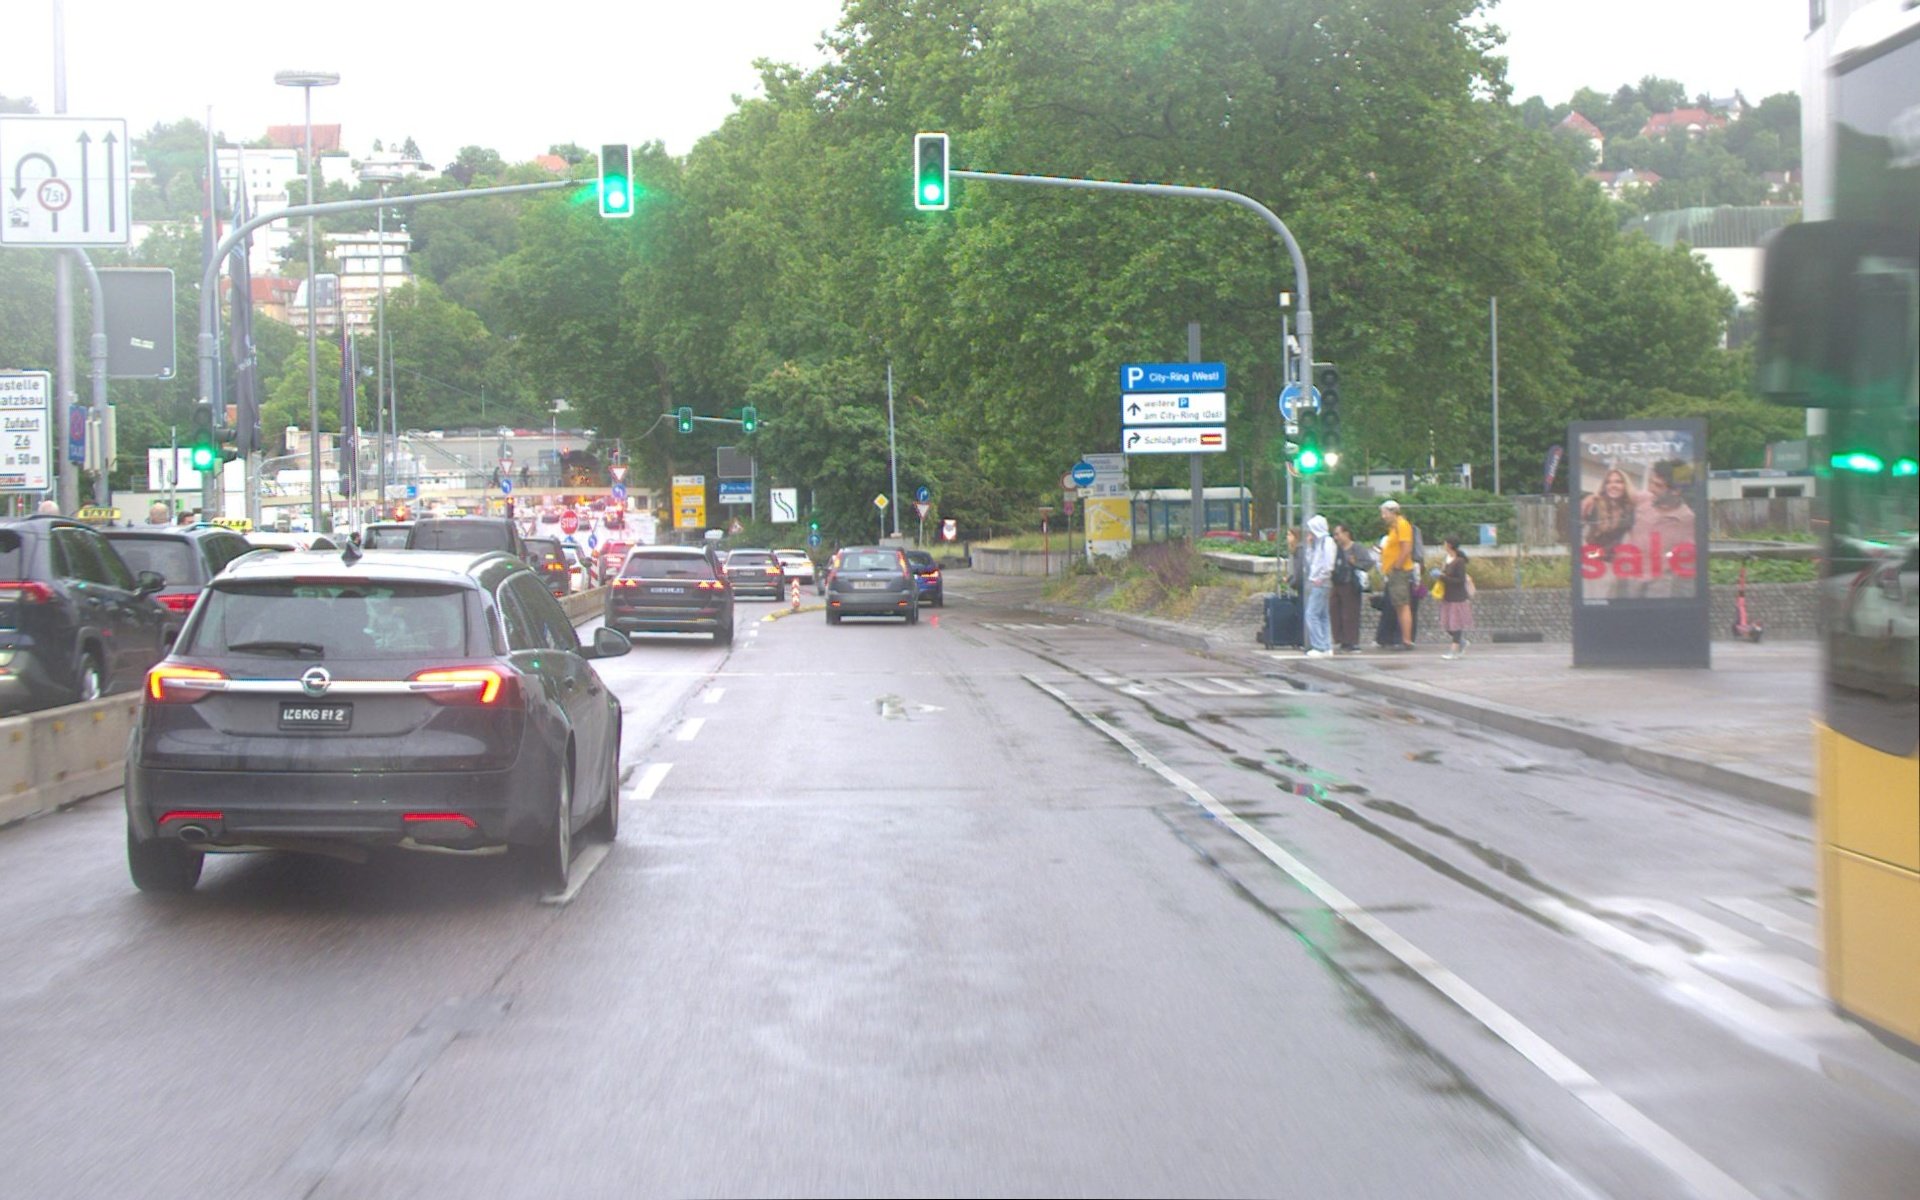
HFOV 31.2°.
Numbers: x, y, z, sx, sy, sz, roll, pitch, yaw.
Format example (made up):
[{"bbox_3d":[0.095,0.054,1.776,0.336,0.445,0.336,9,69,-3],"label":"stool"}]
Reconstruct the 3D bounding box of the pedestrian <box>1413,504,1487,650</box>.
[{"bbox_3d":[6.149,-0.290,43.150,0.539,1.798,0.758,-2,1,-28],"label":"pedestrian"}]

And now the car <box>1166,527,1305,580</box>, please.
[{"bbox_3d":[7.866,-1.322,98.333,3.615,1.500,1.730,1,1,38],"label":"car"}]

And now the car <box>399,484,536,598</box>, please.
[{"bbox_3d":[-8.310,-0.990,58.383,1.993,1.839,5.063,0,1,-5],"label":"car"}]

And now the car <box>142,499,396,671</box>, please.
[{"bbox_3d":[-7.263,-0.195,36.578,1.786,1.680,4.667,-1,1,-1],"label":"car"}]

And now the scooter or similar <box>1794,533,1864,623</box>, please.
[{"bbox_3d":[12.224,-0.314,48.384,0.372,1.254,1.316,0,1,-13],"label":"scooter or similar"}]

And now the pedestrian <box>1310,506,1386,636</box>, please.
[{"bbox_3d":[5.121,-0.386,45.417,0.875,1.685,0.758,-1,1,-1],"label":"pedestrian"}]

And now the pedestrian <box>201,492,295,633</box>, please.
[{"bbox_3d":[-9.678,-0.512,46.758,1.005,1.880,0.682,-1,1,22],"label":"pedestrian"}]

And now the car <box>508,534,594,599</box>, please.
[{"bbox_3d":[-10.606,-0.892,89.404,1.993,1.562,4.877,-2,1,-5],"label":"car"}]

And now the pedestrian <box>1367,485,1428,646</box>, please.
[{"bbox_3d":[5.864,-0.464,46.099,0.554,2.138,0.668,-1,1,-15],"label":"pedestrian"}]

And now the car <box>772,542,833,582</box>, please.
[{"bbox_3d":[-6.276,-1.525,136.650,1.813,1.569,4.001,0,1,-11],"label":"car"}]

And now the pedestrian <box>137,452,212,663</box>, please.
[{"bbox_3d":[-7.587,-0.412,33.241,0.527,2.007,0.891,-1,1,-3],"label":"pedestrian"}]

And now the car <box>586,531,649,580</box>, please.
[{"bbox_3d":[-12.947,-1.674,129.754,1.993,1.820,4.001,0,1,-11],"label":"car"}]

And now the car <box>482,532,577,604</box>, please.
[{"bbox_3d":[-9.260,-0.704,74.211,1.823,1.506,4.491,0,1,-5],"label":"car"}]

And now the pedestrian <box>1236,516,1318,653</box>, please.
[{"bbox_3d":[4.305,-0.219,46.705,0.786,1.832,0.951,-1,1,-15],"label":"pedestrian"}]

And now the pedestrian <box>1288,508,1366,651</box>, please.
[{"bbox_3d":[4.684,-0.264,43.917,0.745,1.798,0.710,-1,1,-15],"label":"pedestrian"}]

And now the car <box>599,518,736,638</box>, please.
[{"bbox_3d":[-4.346,-0.358,51.564,1.830,1.680,4.134,-1,1,-2],"label":"car"}]

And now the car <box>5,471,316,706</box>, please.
[{"bbox_3d":[-6.985,-0.140,30.477,1.713,1.885,4.610,-1,1,-1],"label":"car"}]

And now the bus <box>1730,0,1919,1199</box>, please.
[{"bbox_3d":[3.725,-0.026,4.698,3.113,3.194,9.243,0,1,-1],"label":"bus"}]

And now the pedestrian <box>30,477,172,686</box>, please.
[{"bbox_3d":[-8.437,-0.194,33.779,0.835,2.007,1.026,0,2,37],"label":"pedestrian"}]

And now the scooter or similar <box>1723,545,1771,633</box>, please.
[{"bbox_3d":[11.045,-0.160,48.286,0.352,1.212,1.158,0,1,-3],"label":"scooter or similar"}]

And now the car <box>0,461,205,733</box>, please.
[{"bbox_3d":[-6.977,-0.048,25.018,1.993,1.781,4.848,-1,1,-2],"label":"car"}]

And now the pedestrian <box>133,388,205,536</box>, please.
[{"bbox_3d":[-10.176,-1.778,44.227,0.830,1.879,0.691,-1,3,-10],"label":"pedestrian"}]

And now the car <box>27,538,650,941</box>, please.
[{"bbox_3d":[-2.572,0.486,15.449,1.877,1.503,4.852,-1,1,0],"label":"car"}]

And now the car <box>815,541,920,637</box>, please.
[{"bbox_3d":[-1.735,-0.219,63.609,1.851,1.711,4.001,0,1,-3],"label":"car"}]

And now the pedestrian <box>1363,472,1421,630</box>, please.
[{"bbox_3d":[5.920,-0.673,47.097,0.709,2.138,0.721,-1,1,11],"label":"pedestrian"}]

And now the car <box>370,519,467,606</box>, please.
[{"bbox_3d":[-12.997,-0.908,82.767,1.993,2.007,5.371,0,1,-6],"label":"car"}]

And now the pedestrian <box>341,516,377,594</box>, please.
[{"bbox_3d":[-13.554,-1.025,77.539,0.634,1.747,0.822,0,1,2],"label":"pedestrian"}]

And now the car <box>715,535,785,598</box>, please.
[{"bbox_3d":[-5.847,-0.935,95.994,1.904,1.711,4.001,0,1,-3],"label":"car"}]

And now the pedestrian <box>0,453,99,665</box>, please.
[{"bbox_3d":[-8.787,-0.398,32.939,0.835,2.007,0.622,0,2,39],"label":"pedestrian"}]
